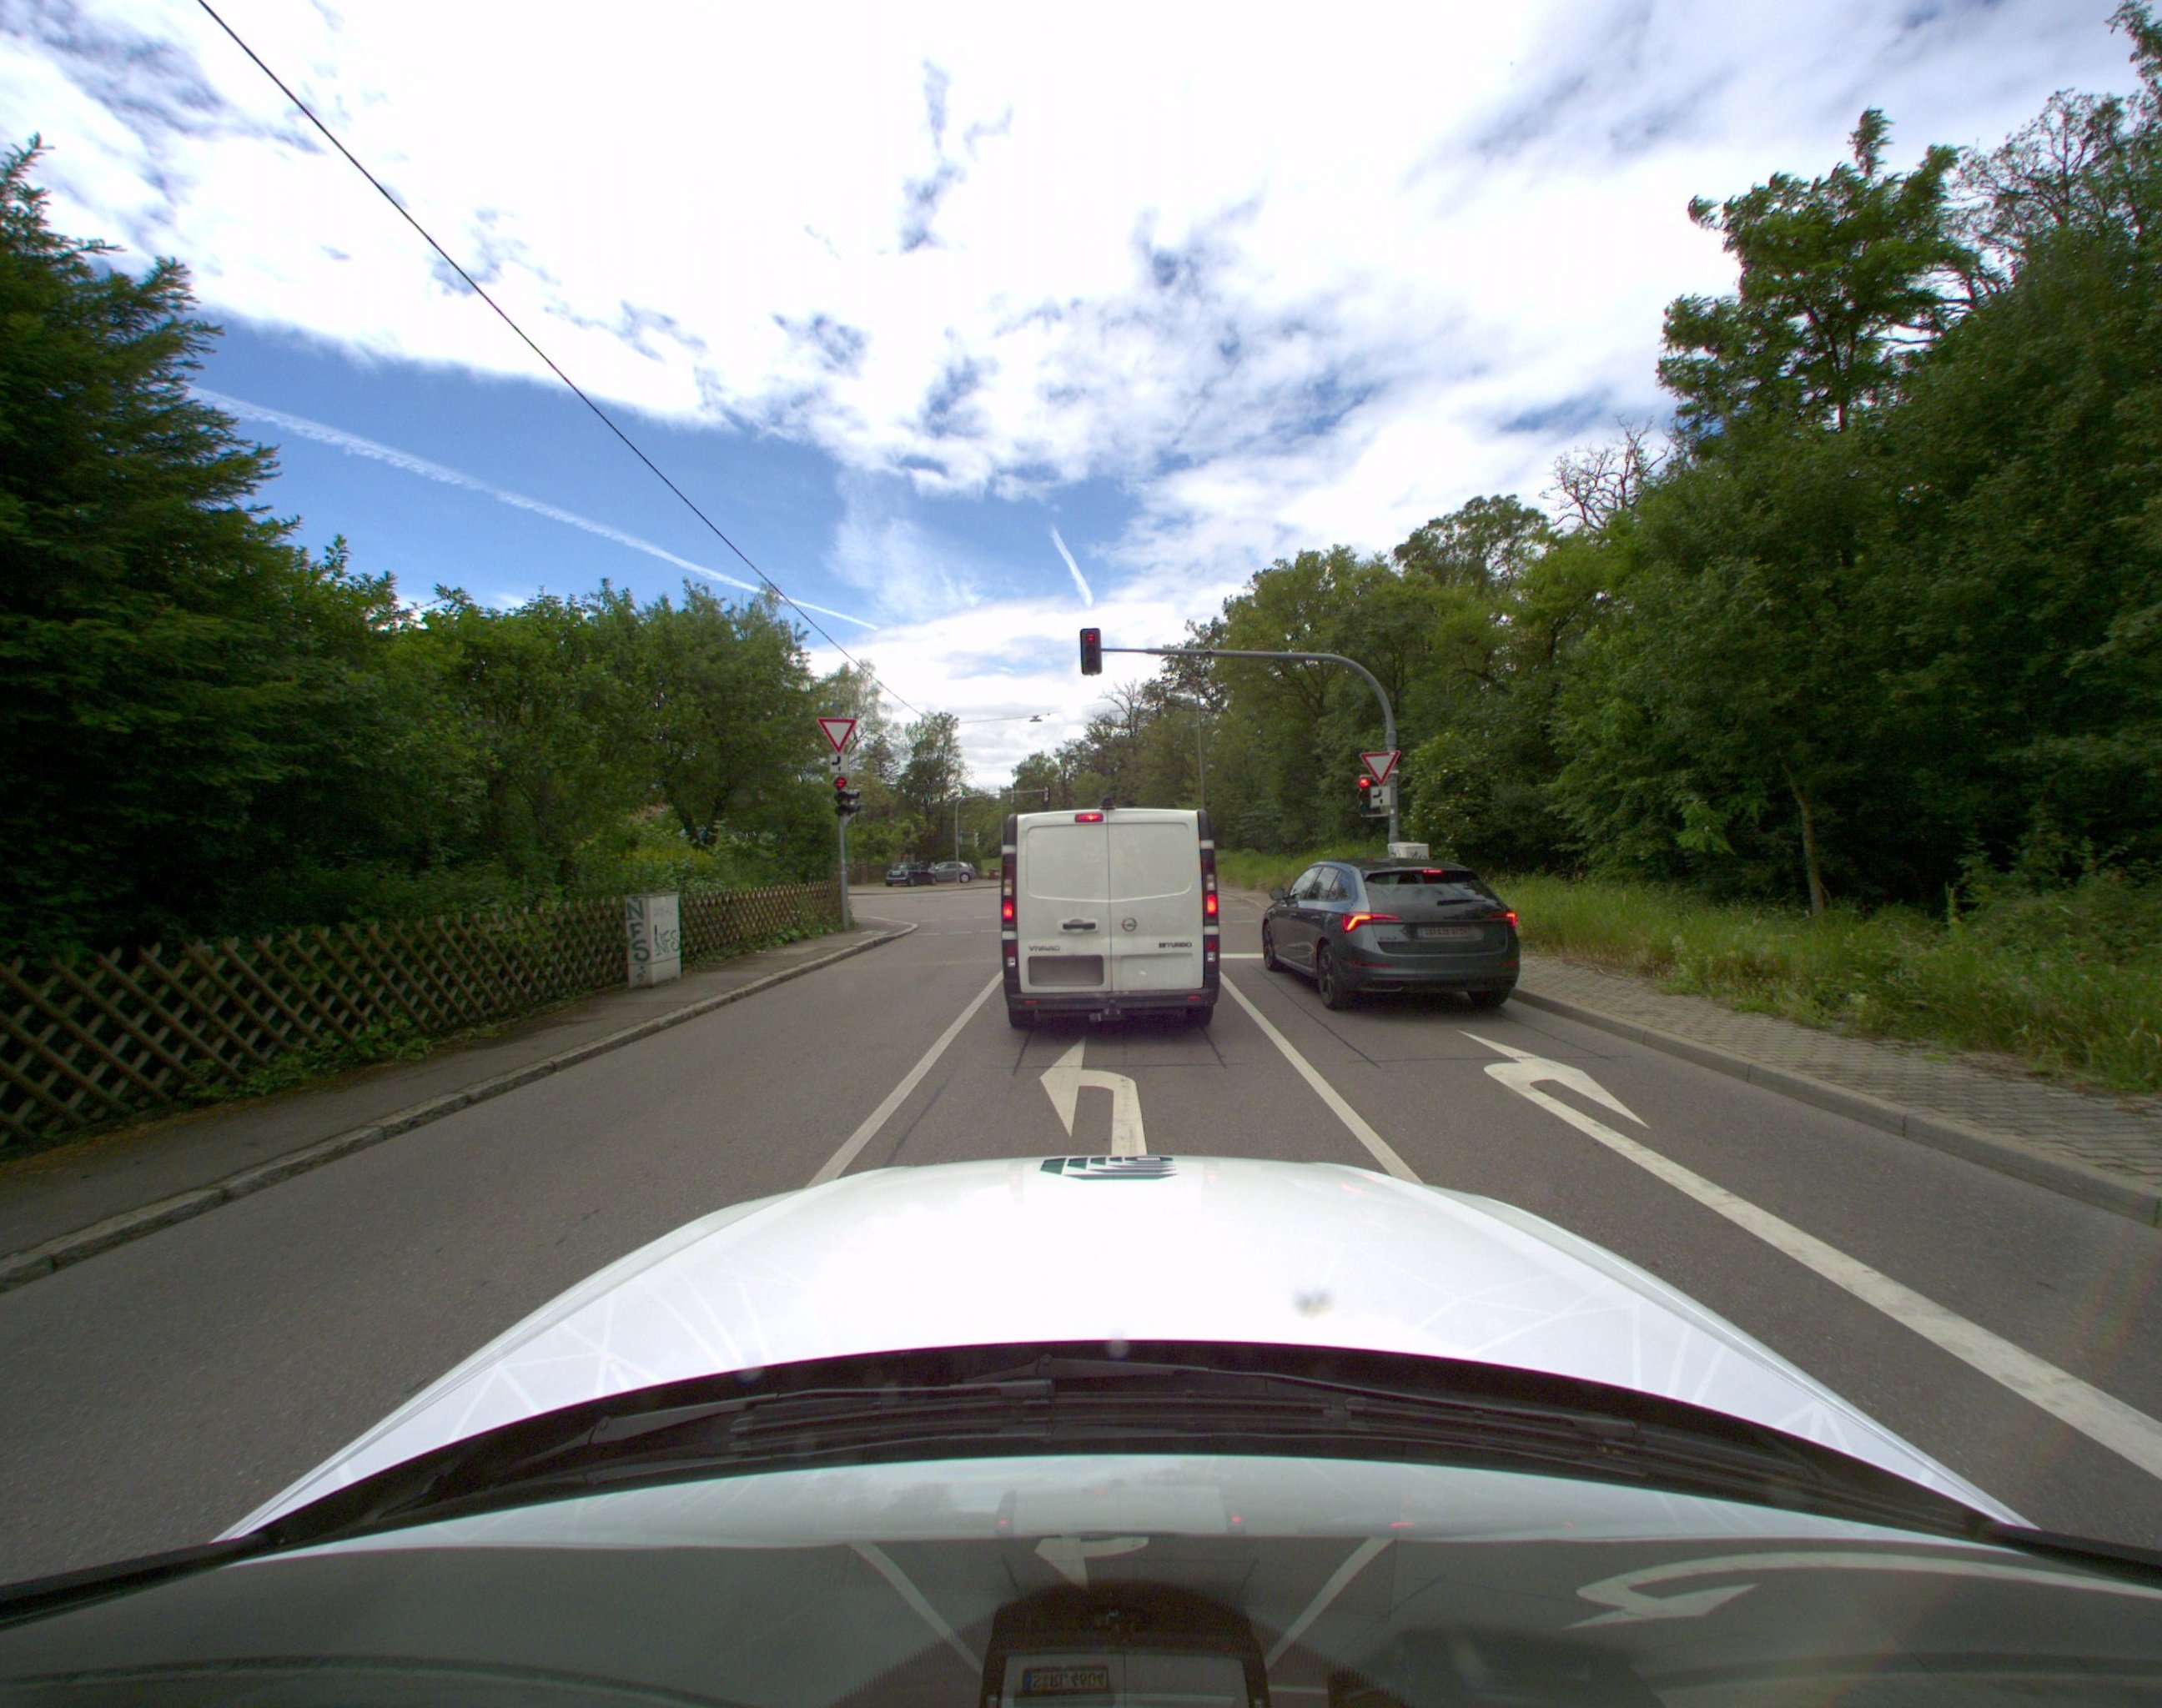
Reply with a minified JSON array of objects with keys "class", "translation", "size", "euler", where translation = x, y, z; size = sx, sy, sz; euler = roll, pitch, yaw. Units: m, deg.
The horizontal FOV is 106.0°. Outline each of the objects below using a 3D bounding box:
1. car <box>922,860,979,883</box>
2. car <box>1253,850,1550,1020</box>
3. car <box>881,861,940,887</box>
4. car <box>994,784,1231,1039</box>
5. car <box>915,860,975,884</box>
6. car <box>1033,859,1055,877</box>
[{"class":"car","translation":[-9.914,1.291,61.807],"size":[4.094,1.553,1.845],"euler":[-2,0,-16]},{"class":"car","translation":[3.250,0.713,9.175],"size":[1.786,1.450,4.000],"euler":[-2,0,1]},{"class":"car","translation":[-10.081,1.137,48.431],"size":[1.683,1.449,3.562],"euler":[1,0,22]},{"class":"car","translation":[0.251,0.467,8.887],"size":[1.910,2.053,4.613],"euler":[0,0,0]},{"class":"car","translation":[-9.808,1.275,58.767],"size":[4.094,1.553,1.845],"euler":[-2,0,-16]},{"class":"car","translation":[-3.244,1.222,71.716],"size":[1.852,1.507,3.996],"euler":[-2,0,-2]}]
